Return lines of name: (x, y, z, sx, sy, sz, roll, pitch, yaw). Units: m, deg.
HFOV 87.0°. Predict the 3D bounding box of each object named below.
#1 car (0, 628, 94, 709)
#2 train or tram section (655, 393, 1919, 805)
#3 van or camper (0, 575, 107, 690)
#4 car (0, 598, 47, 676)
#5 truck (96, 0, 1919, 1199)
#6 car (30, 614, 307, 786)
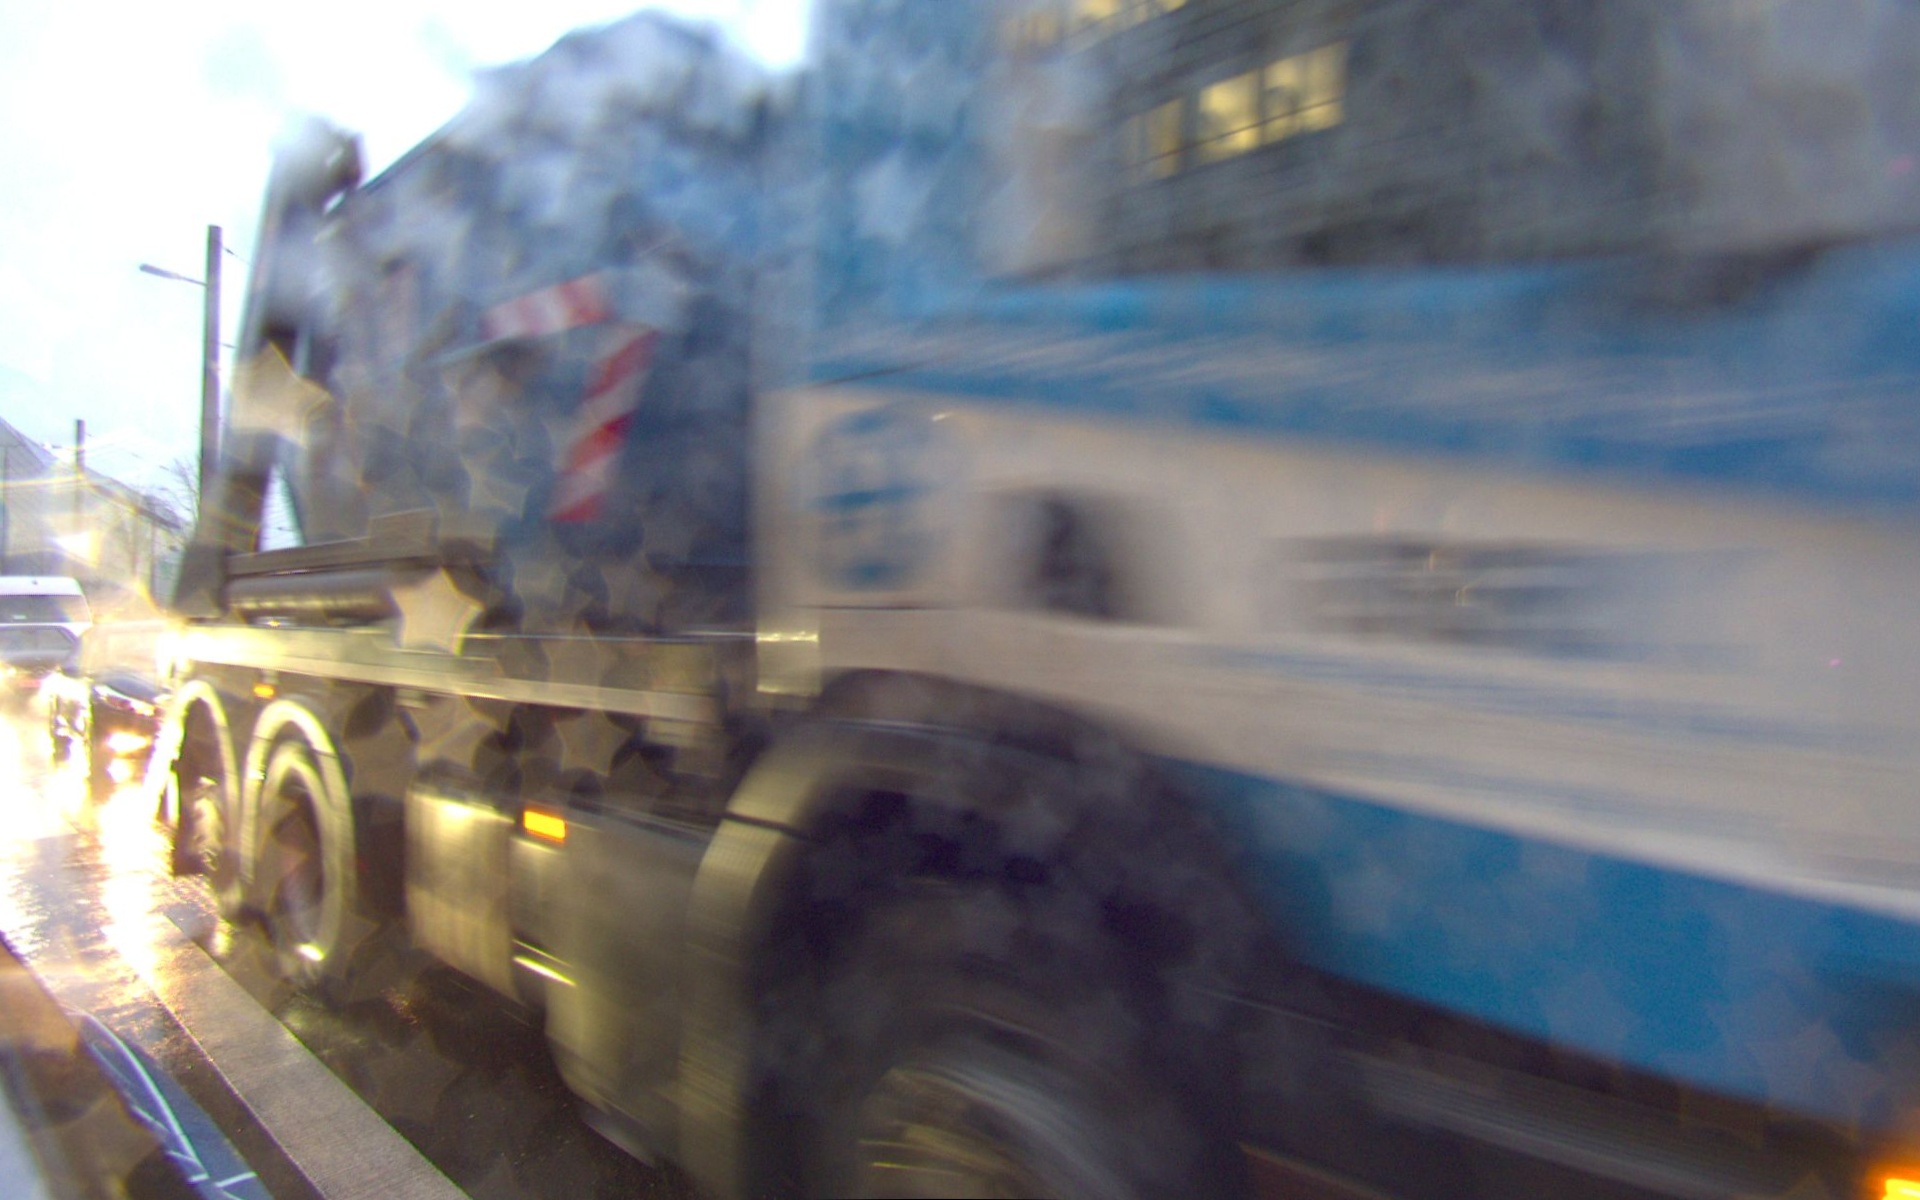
car: (-17.832, 1.232, 19.177, 4.057, 1.355, 1.735, -1, -1, 44)
train or tram section: (2.449, 0.145, 15.627, 20.046, 3.642, 2.836, -1, -2, 39)
van or camper: (-23.004, 0.774, 24.897, 5.894, 2.551, 2.126, -1, -2, 40)
car: (-37.733, 1.437, 39.628, 5.808, 2.885, 2.102, -1, -2, 40)
truck: (-0.753, -0.222, 3.974, 7.521, 3.661, 2.810, -1, -2, 40)
car: (-8.635, 0.946, 10.932, 3.939, 1.535, 1.613, -2, -2, 41)
